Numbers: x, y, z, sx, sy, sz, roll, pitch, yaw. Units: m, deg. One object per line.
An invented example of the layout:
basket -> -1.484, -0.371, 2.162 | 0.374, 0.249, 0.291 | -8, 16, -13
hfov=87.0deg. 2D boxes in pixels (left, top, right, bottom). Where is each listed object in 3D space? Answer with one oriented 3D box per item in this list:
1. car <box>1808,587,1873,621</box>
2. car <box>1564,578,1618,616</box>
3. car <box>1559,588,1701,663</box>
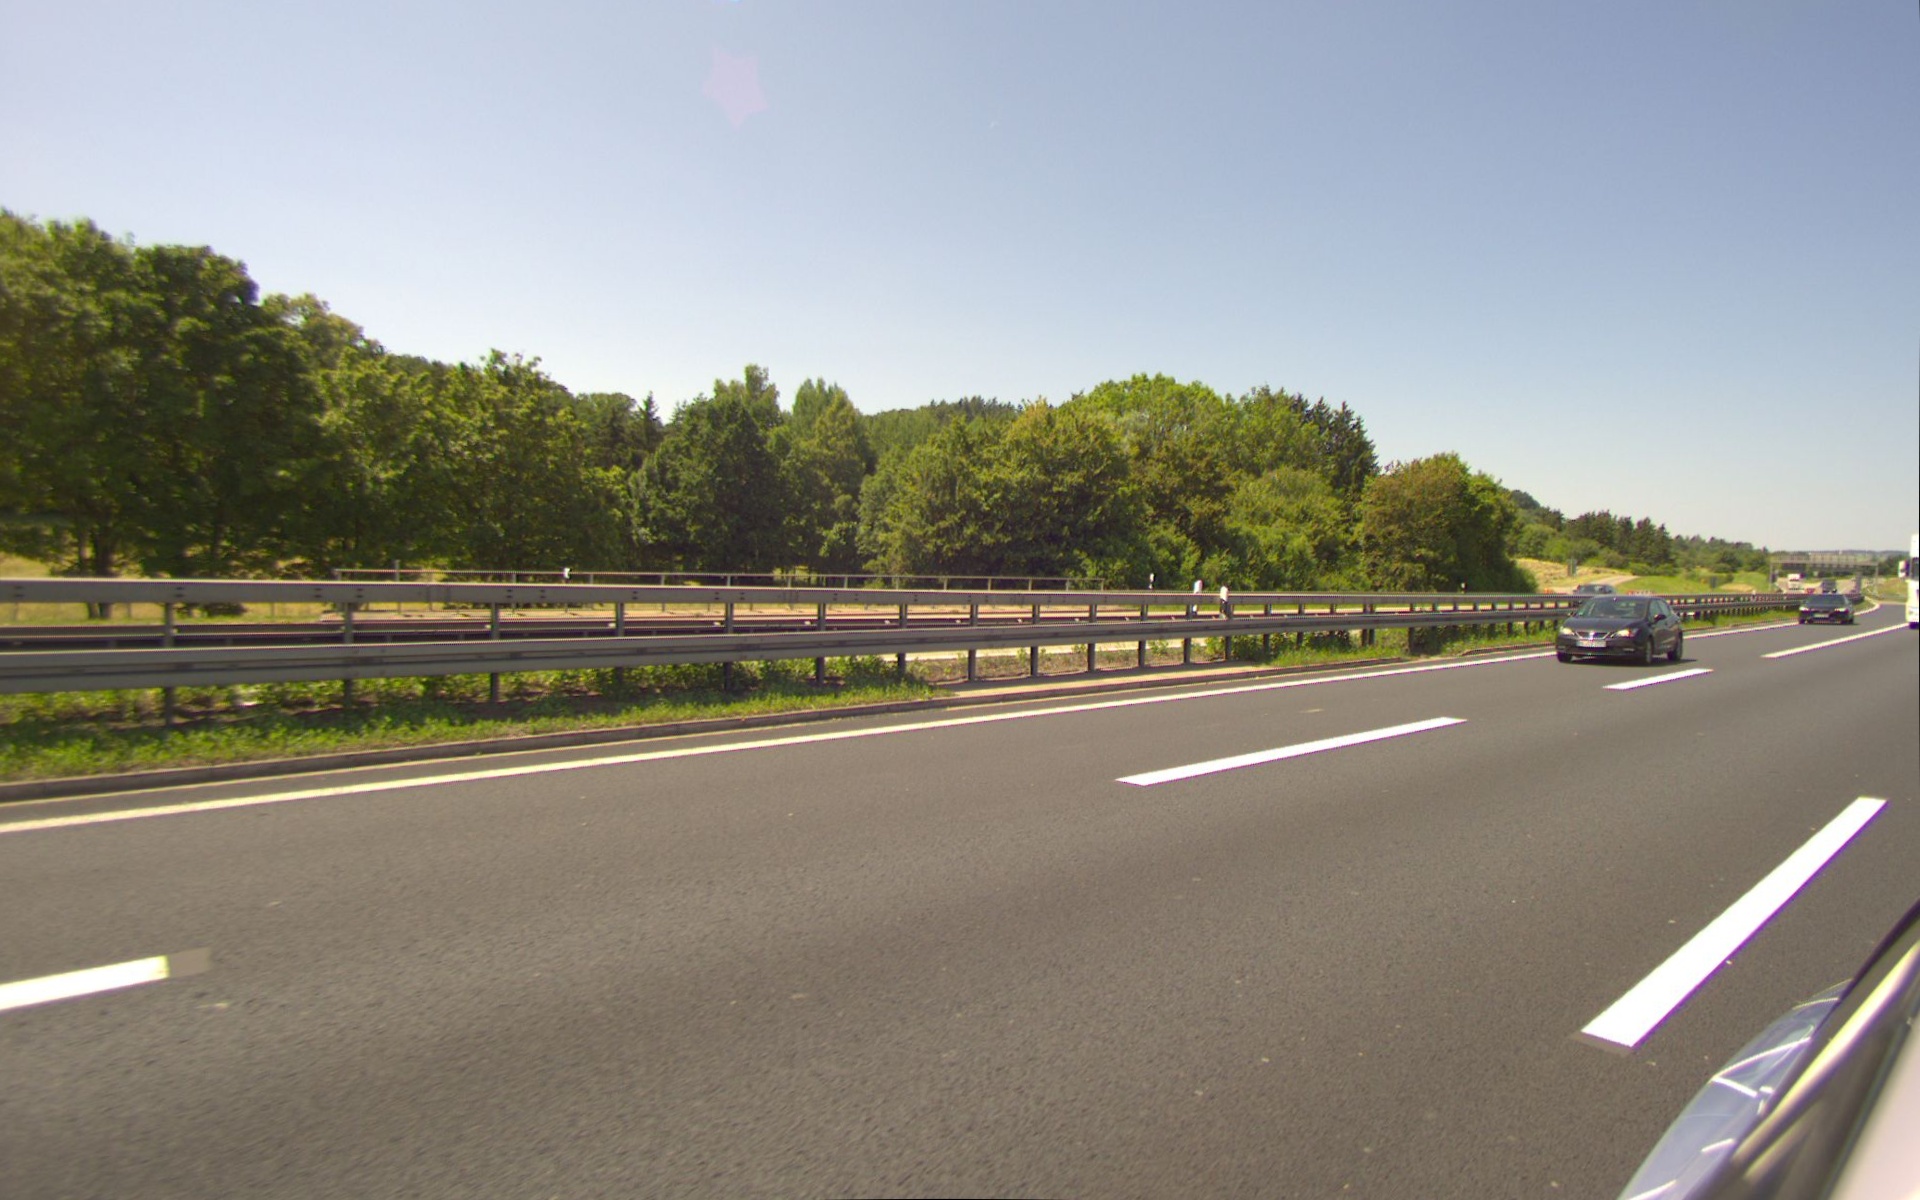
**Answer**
car -> 41.170, 0.139, 47.319 | 3.802, 1.491, 1.889 | -1, 2, -43
car -> 36.137, -0.206, 57.929 | 1.992, 2.039, 3.941 | 1, 1, 41
car -> 14.346, 0.474, 21.596 | 3.699, 1.417, 1.778 | -1, 2, -44
